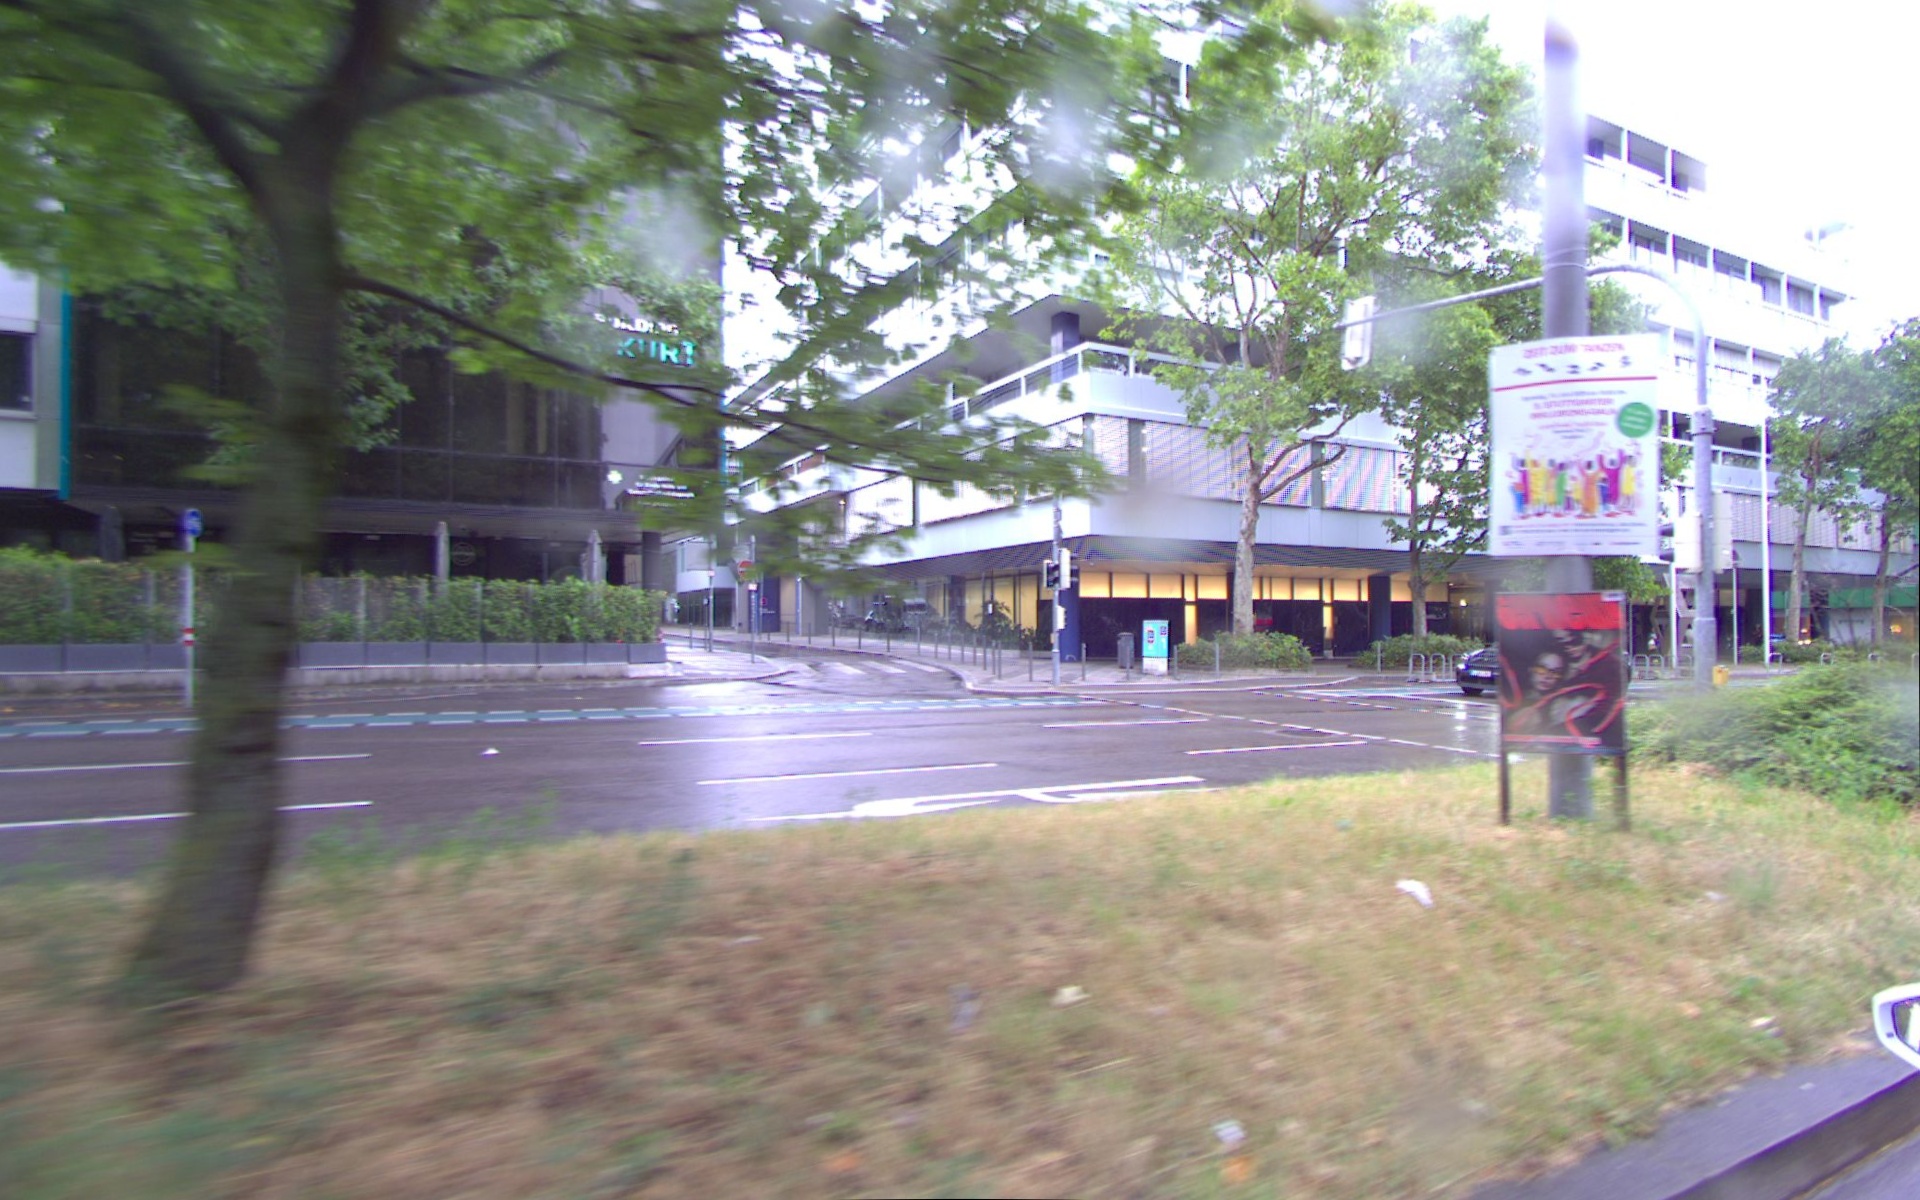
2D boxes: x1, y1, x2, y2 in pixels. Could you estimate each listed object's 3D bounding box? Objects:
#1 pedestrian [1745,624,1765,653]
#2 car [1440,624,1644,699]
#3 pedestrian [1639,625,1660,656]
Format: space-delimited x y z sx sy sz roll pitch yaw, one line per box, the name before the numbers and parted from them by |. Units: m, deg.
pedestrian | 41.623 2.010 52.600 0.568 1.502 0.606 2 0 -32
car | 13.932 1.465 24.015 4.683 1.605 1.903 2 0 -26
pedestrian | 31.853 1.890 46.414 0.469 1.398 0.634 2 0 -32
